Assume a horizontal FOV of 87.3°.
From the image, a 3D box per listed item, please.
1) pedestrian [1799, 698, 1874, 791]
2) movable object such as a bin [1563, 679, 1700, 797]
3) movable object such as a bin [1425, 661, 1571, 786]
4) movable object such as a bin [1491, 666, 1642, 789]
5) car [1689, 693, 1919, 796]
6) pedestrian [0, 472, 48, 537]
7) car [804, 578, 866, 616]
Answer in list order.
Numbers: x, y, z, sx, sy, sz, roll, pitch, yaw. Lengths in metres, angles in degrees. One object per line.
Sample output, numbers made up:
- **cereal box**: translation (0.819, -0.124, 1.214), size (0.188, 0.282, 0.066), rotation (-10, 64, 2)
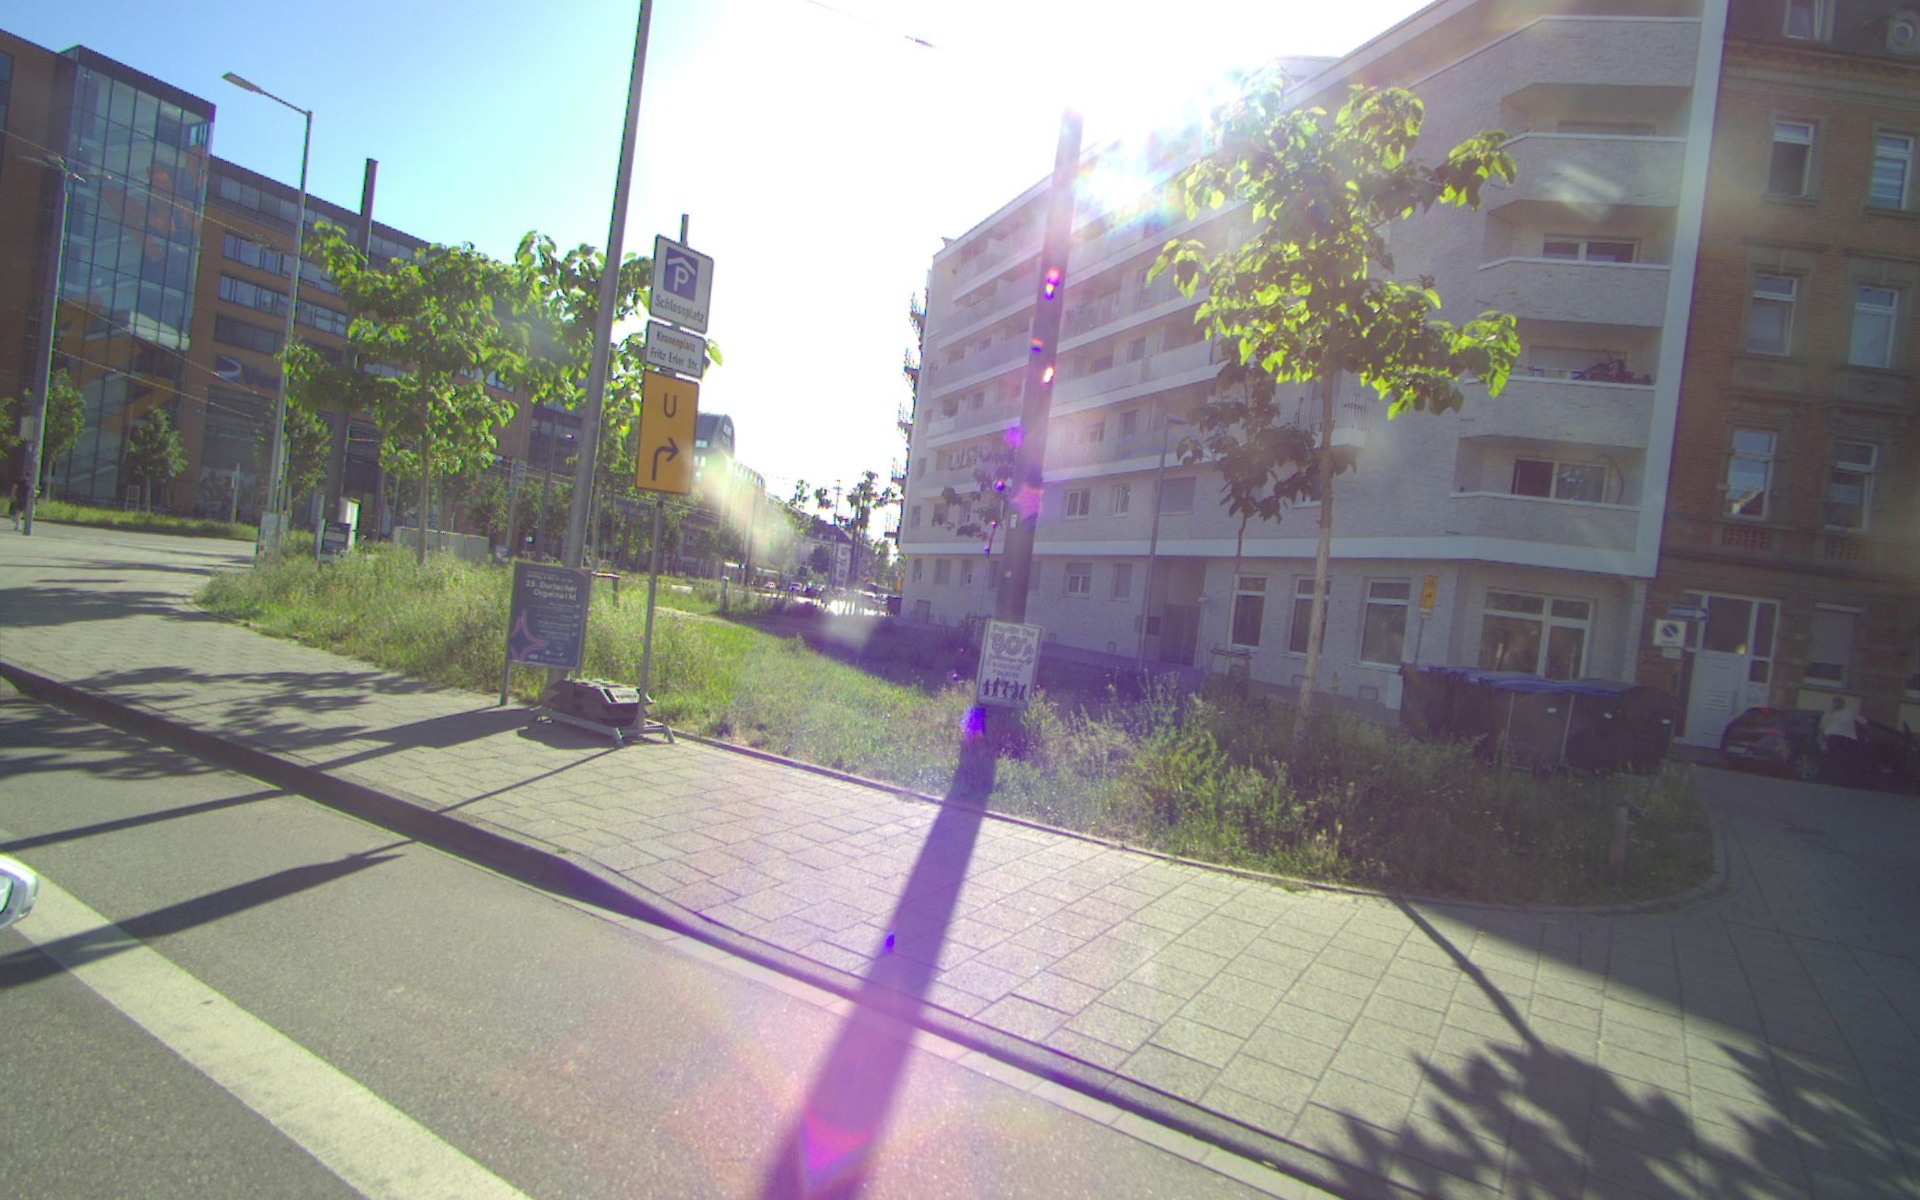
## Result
- **pedestrian**: translation (16.596, 2.724, 19.069), size (0.630, 1.596, 0.772), rotation (7, 1, 13)
- **movable object such as a bin**: translation (9.515, 1.928, 14.312), size (1.014, 1.416, 1.089), rotation (7, 1, -5)
- **movable object such as a bin**: translation (7.225, 1.635, 13.598), size (1.053, 1.416, 1.302), rotation (7, 1, -5)
- **movable object such as a bin**: translation (8.379, 1.741, 13.978), size (1.091, 1.416, 1.319), rotation (7, 1, -5)
- **car**: translation (17.682, 2.961, 20.491), size (4.031, 1.454, 2.001), rotation (7, 0, 2)
- **pedestrian**: translation (-27.490, -2.793, 29.460), size (0.748, 1.730, 0.808), rotation (8, 1, 27)
- **car**: translation (-8.584, -0.187, 68.749), size (3.933, 2.038, 1.997), rotation (7, 0, -9)
